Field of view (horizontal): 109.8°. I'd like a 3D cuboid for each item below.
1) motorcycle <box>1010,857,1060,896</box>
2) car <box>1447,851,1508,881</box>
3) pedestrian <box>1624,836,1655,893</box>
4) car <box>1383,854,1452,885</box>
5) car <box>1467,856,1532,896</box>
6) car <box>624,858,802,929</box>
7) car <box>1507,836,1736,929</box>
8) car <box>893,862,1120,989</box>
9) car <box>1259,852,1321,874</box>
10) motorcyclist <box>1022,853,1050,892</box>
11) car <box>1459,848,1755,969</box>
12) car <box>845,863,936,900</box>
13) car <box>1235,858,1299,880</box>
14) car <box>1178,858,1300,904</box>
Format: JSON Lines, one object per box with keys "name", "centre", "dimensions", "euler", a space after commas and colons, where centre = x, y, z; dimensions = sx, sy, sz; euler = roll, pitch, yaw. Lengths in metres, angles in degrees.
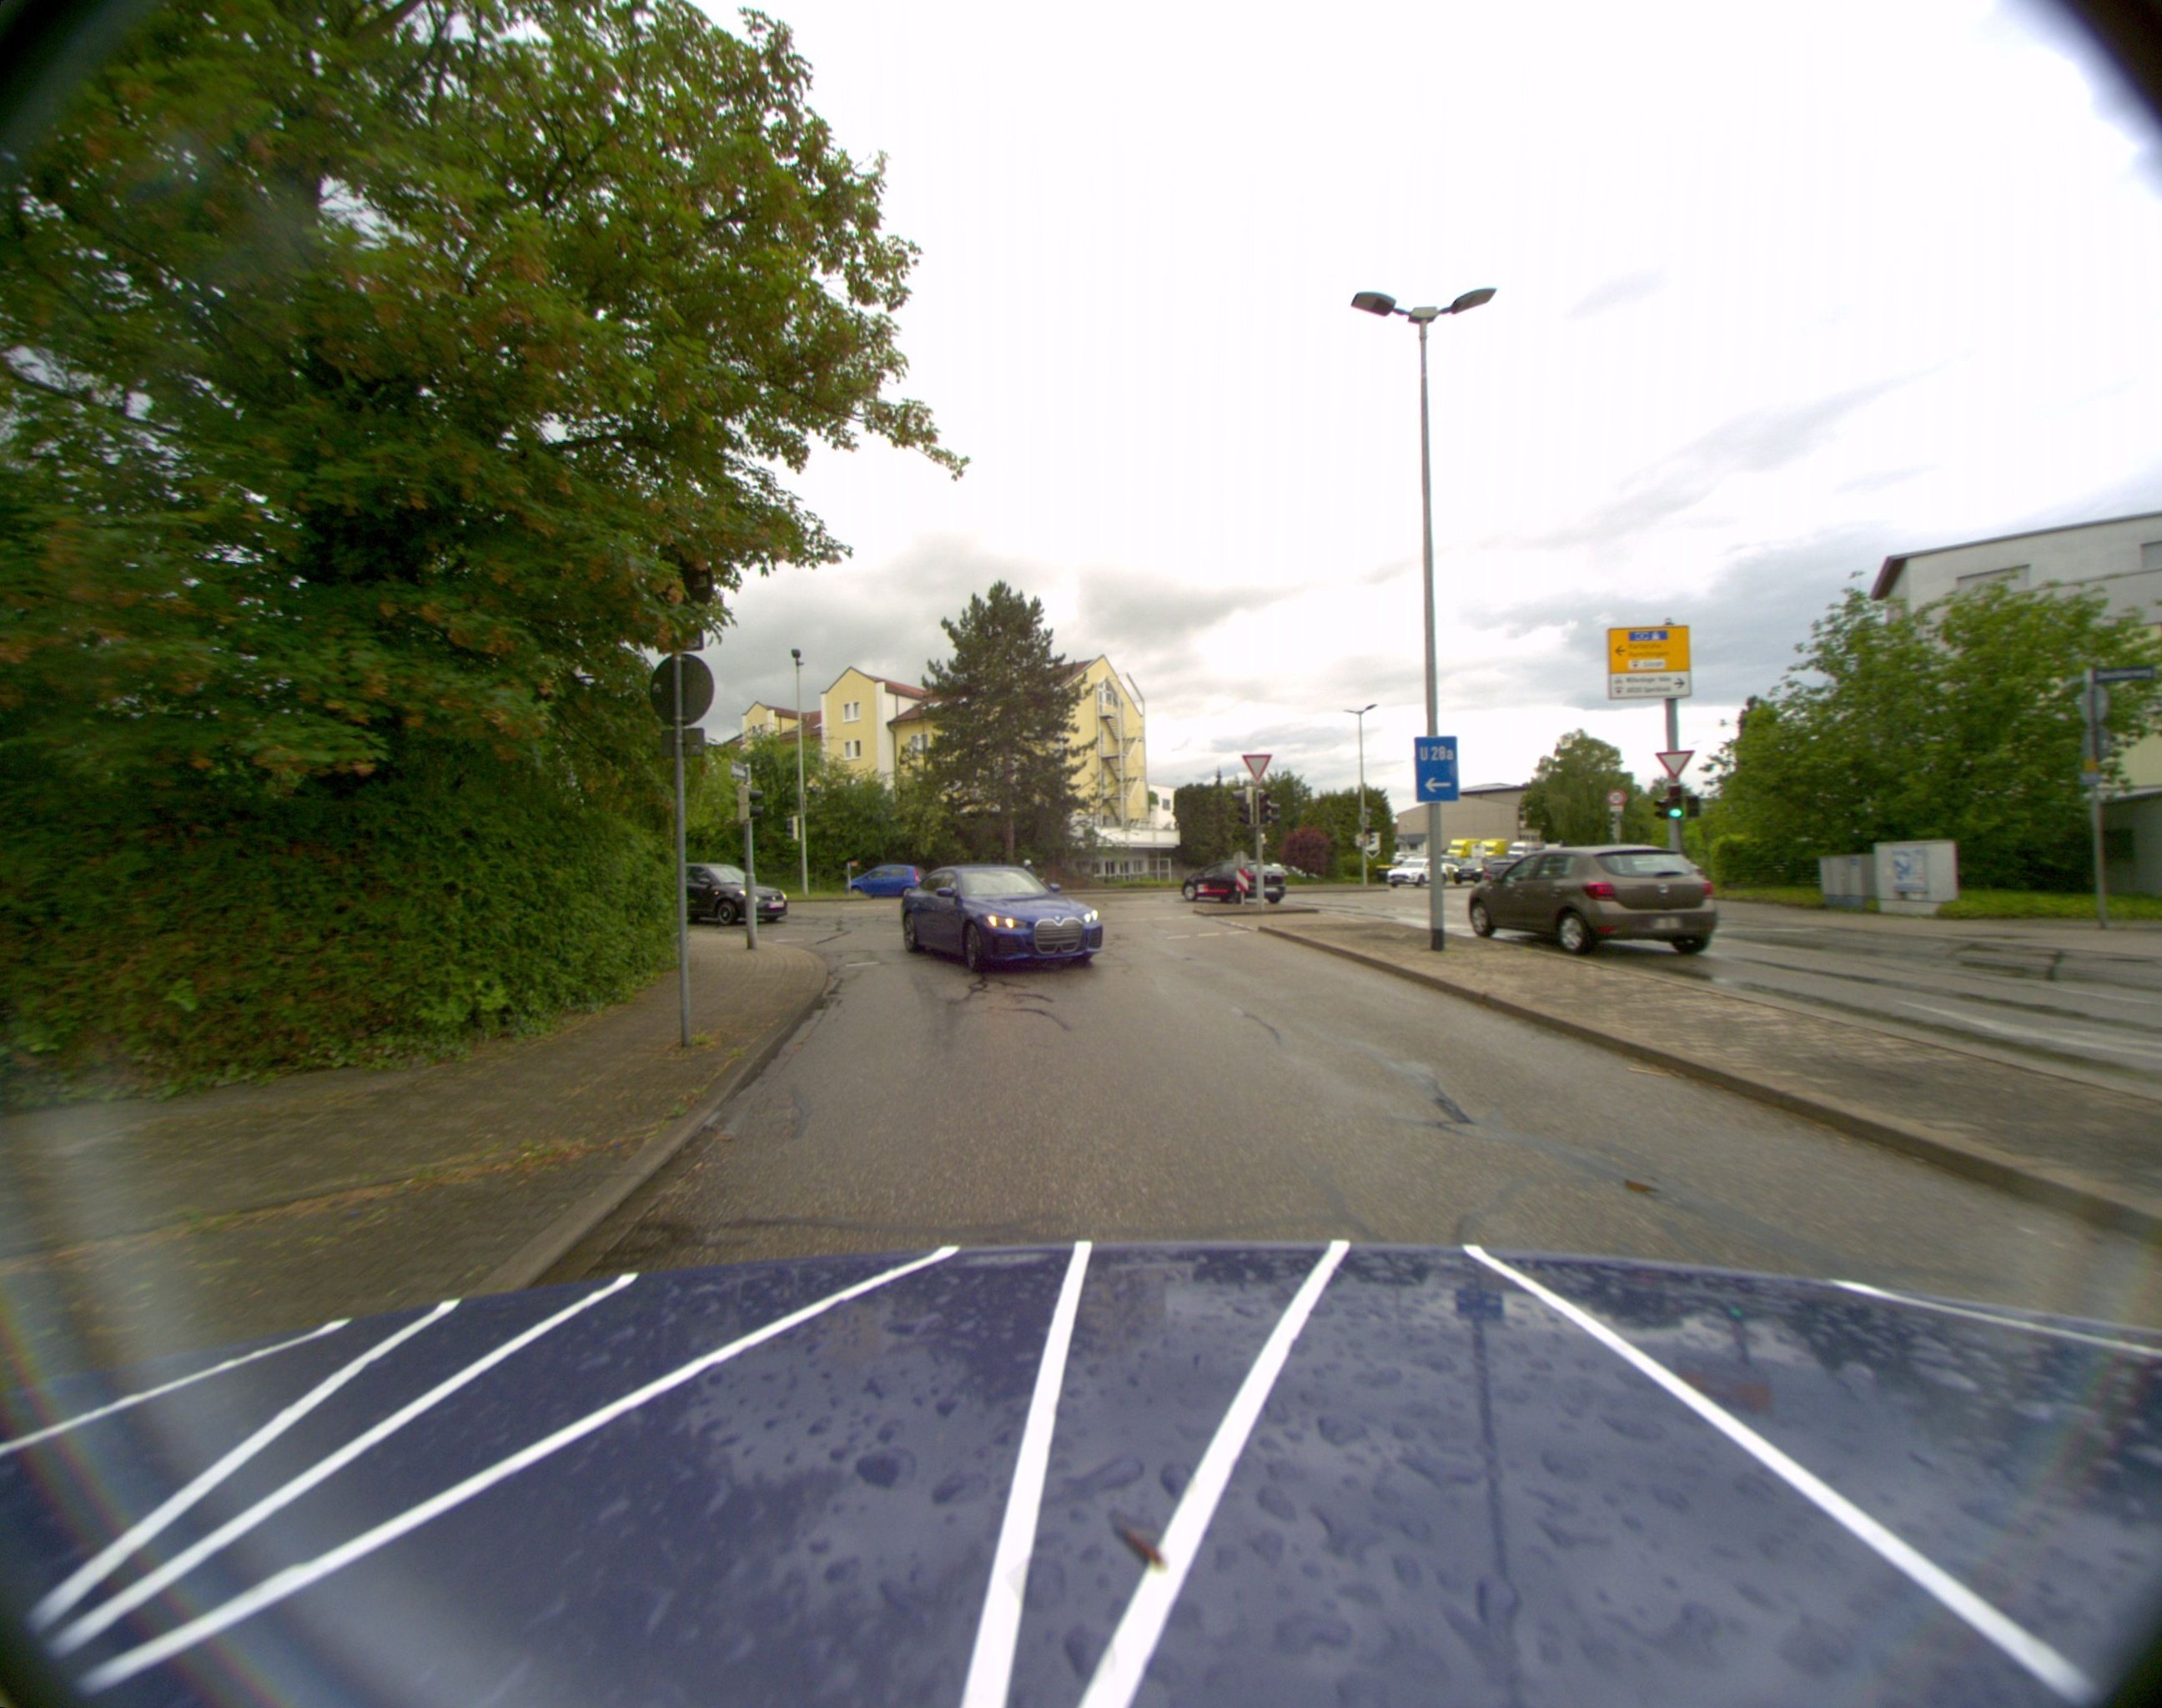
{"name": "motorcycle", "centre": [-1.930, 0.928, 31.967], "dimensions": [1.917, 1.615, 0.798], "euler": [0, 1, 21]}
{"name": "car", "centre": [25.665, 0.754, 49.103], "dimensions": [4.007, 1.805, 1.995], "euler": [-2, 0, -39]}
{"name": "pedestrian", "centre": [20.149, 0.386, 27.426], "dimensions": [0.847, 2.002, 0.803], "euler": [-2, 0, 36]}
{"name": "car", "centre": [19.672, 0.887, 44.371], "dimensions": [4.007, 1.630, 1.995], "euler": [-2, 1, -38]}
{"name": "car", "centre": [16.358, 0.815, 29.602], "dimensions": [1.755, 1.426, 4.361], "euler": [-2, -1, 35]}
{"name": "car", "centre": [-9.244, 0.992, 19.096], "dimensions": [3.991, 1.511, 1.749], "euler": [-3, 2, 24]}
{"name": "car", "centre": [11.839, 0.562, 17.129], "dimensions": [1.952, 1.715, 4.601], "euler": [-3, 0, 3]}
{"name": "car", "centre": [-1.381, 0.932, 11.964], "dimensions": [1.917, 1.487, 4.339], "euler": [-3, 1, -29]}
{"name": "car", "centre": [15.073, 0.670, 55.011], "dimensions": [1.735, 1.386, 3.989], "euler": [-5, 2, -39]}
{"name": "motorcyclist", "centre": [-1.877, 0.762, 31.939], "dimensions": [0.937, 1.615, 0.774], "euler": [1, 0, 22]}
{"name": "car", "centre": [7.591, 0.675, 11.520], "dimensions": [1.827, 1.478, 3.937], "euler": [-1, 0, 2]}
{"name": "car", "centre": [-8.152, 1.186, 32.584], "dimensions": [3.435, 1.447, 1.526], "euler": [-2, -2, 10]}
{"name": "car", "centre": [13.078, 1.021, 53.577], "dimensions": [2.003, 1.455, 3.989], "euler": [-2, 1, -37]}
{"name": "car", "centre": [5.201, 0.866, 25.550], "dimensions": [1.825, 1.400, 4.194], "euler": [-1, -1, -26]}
